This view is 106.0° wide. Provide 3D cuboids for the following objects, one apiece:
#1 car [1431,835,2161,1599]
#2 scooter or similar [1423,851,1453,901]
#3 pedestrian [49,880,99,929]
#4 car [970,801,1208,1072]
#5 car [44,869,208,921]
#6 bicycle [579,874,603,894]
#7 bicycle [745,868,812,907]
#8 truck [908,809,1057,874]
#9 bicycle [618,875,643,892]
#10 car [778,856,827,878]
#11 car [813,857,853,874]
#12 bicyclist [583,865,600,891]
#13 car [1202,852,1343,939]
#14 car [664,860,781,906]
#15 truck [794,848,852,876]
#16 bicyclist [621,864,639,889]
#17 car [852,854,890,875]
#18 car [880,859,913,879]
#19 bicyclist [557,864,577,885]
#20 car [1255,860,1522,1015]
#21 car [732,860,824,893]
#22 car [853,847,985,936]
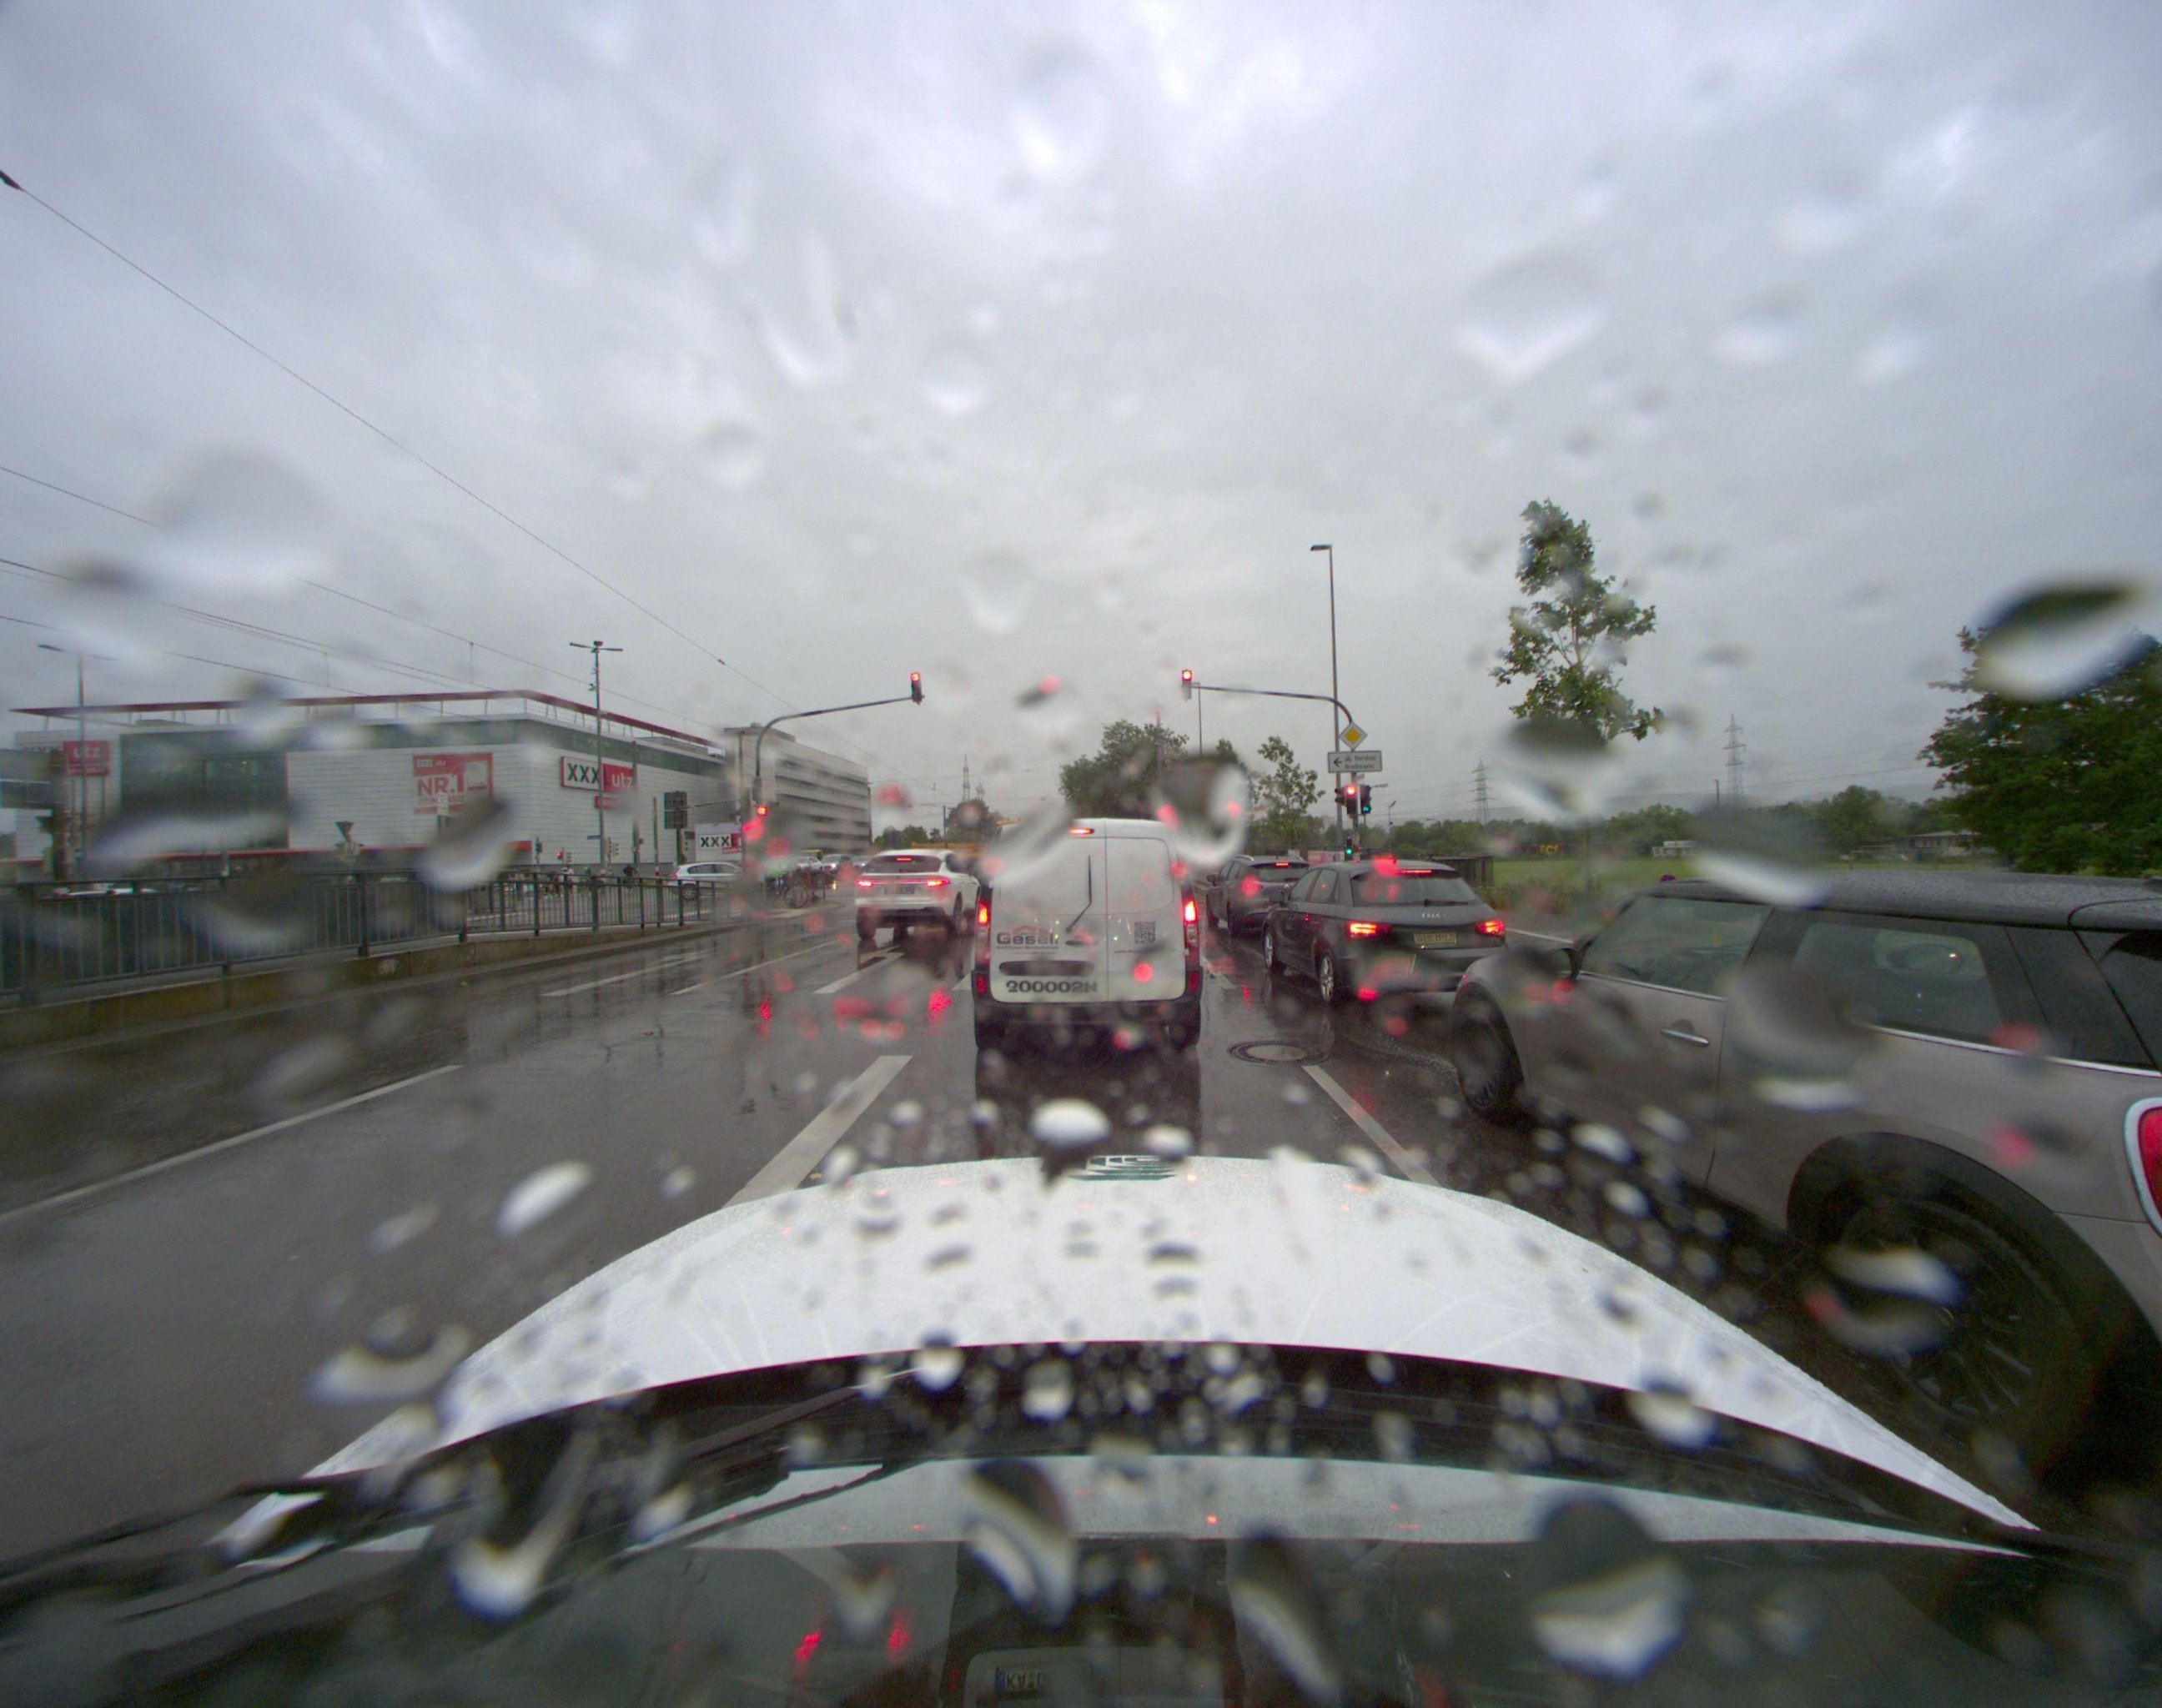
[{"bbox_3d":[3.008,0.710,3.254,1.707,1.508,3.624,0,0,1],"label":"car"},{"bbox_3d":[8.470,0.511,19.343,0.244,1.158,1.187,0,-1,3],"label":"scooter or similar"},{"bbox_3d":[-33.111,1.645,26.790,0.561,1.537,0.872,0,-1,1],"label":"pedestrian"},{"bbox_3d":[0.119,0.563,7.438,1.560,1.788,4.002,-1,0,2],"label":"car"},{"bbox_3d":[-38.619,1.633,33.015,4.298,2.014,2.001,0,-1,1],"label":"car"},{"bbox_3d":[-26.956,1.634,44.815,0.409,1.061,1.508,0,-1,0],"label":"bicycle"},{"bbox_3d":[-8.813,0.973,23.786,1.745,1.034,0.414,2,-1,0],"label":"bicycle"},{"bbox_3d":[-4.546,-0.535,39.097,2.607,2.816,7.189,-1,-1,41],"label":"truck"},{"bbox_3d":[-26.908,1.770,48.633,0.448,0.987,1.710,0,-1,3],"label":"bicycle"},{"bbox_3d":[-19.564,0.907,57.329,1.689,1.492,3.884,0,-1,7],"label":"car"},{"bbox_3d":[-19.275,0.886,63.413,1.579,1.336,3.837,0,-1,6],"label":"car"},{"bbox_3d":[-26.902,1.308,44.794,0.531,1.399,0.650,0,-1,-1],"label":"bicyclist"},{"bbox_3d":[3.502,0.687,15.573,1.853,1.428,3.808,0,0,1],"label":"car"},{"bbox_3d":[-13.884,1.099,31.775,4.080,1.660,1.609,0,-1,-20],"label":"car"},{"bbox_3d":[-22.317,0.657,70.932,2.342,2.279,7.637,0,0,2],"label":"truck"},{"bbox_3d":[-26.924,1.327,48.615,0.681,1.464,0.647,0,-1,3],"label":"bicyclist"},{"bbox_3d":[-18.261,0.901,70.978,1.883,1.699,4.006,0,-1,6],"label":"car"},{"bbox_3d":[-17.652,1.446,78.035,1.919,1.827,4.007,0,-1,6],"label":"car"},{"bbox_3d":[-28.849,1.150,45.707,0.681,1.134,0.647,0,-1,3],"label":"bicyclist"},{"bbox_3d":[3.093,0.747,8.980,1.623,1.344,3.624,0,0,1],"label":"car"},{"bbox_3d":[-13.869,1.009,37.513,3.735,1.410,1.832,0,-1,-13],"label":"car"},{"bbox_3d":[-3.072,0.639,16.368,1.723,1.535,4.298,0,0,1],"label":"car"}]
